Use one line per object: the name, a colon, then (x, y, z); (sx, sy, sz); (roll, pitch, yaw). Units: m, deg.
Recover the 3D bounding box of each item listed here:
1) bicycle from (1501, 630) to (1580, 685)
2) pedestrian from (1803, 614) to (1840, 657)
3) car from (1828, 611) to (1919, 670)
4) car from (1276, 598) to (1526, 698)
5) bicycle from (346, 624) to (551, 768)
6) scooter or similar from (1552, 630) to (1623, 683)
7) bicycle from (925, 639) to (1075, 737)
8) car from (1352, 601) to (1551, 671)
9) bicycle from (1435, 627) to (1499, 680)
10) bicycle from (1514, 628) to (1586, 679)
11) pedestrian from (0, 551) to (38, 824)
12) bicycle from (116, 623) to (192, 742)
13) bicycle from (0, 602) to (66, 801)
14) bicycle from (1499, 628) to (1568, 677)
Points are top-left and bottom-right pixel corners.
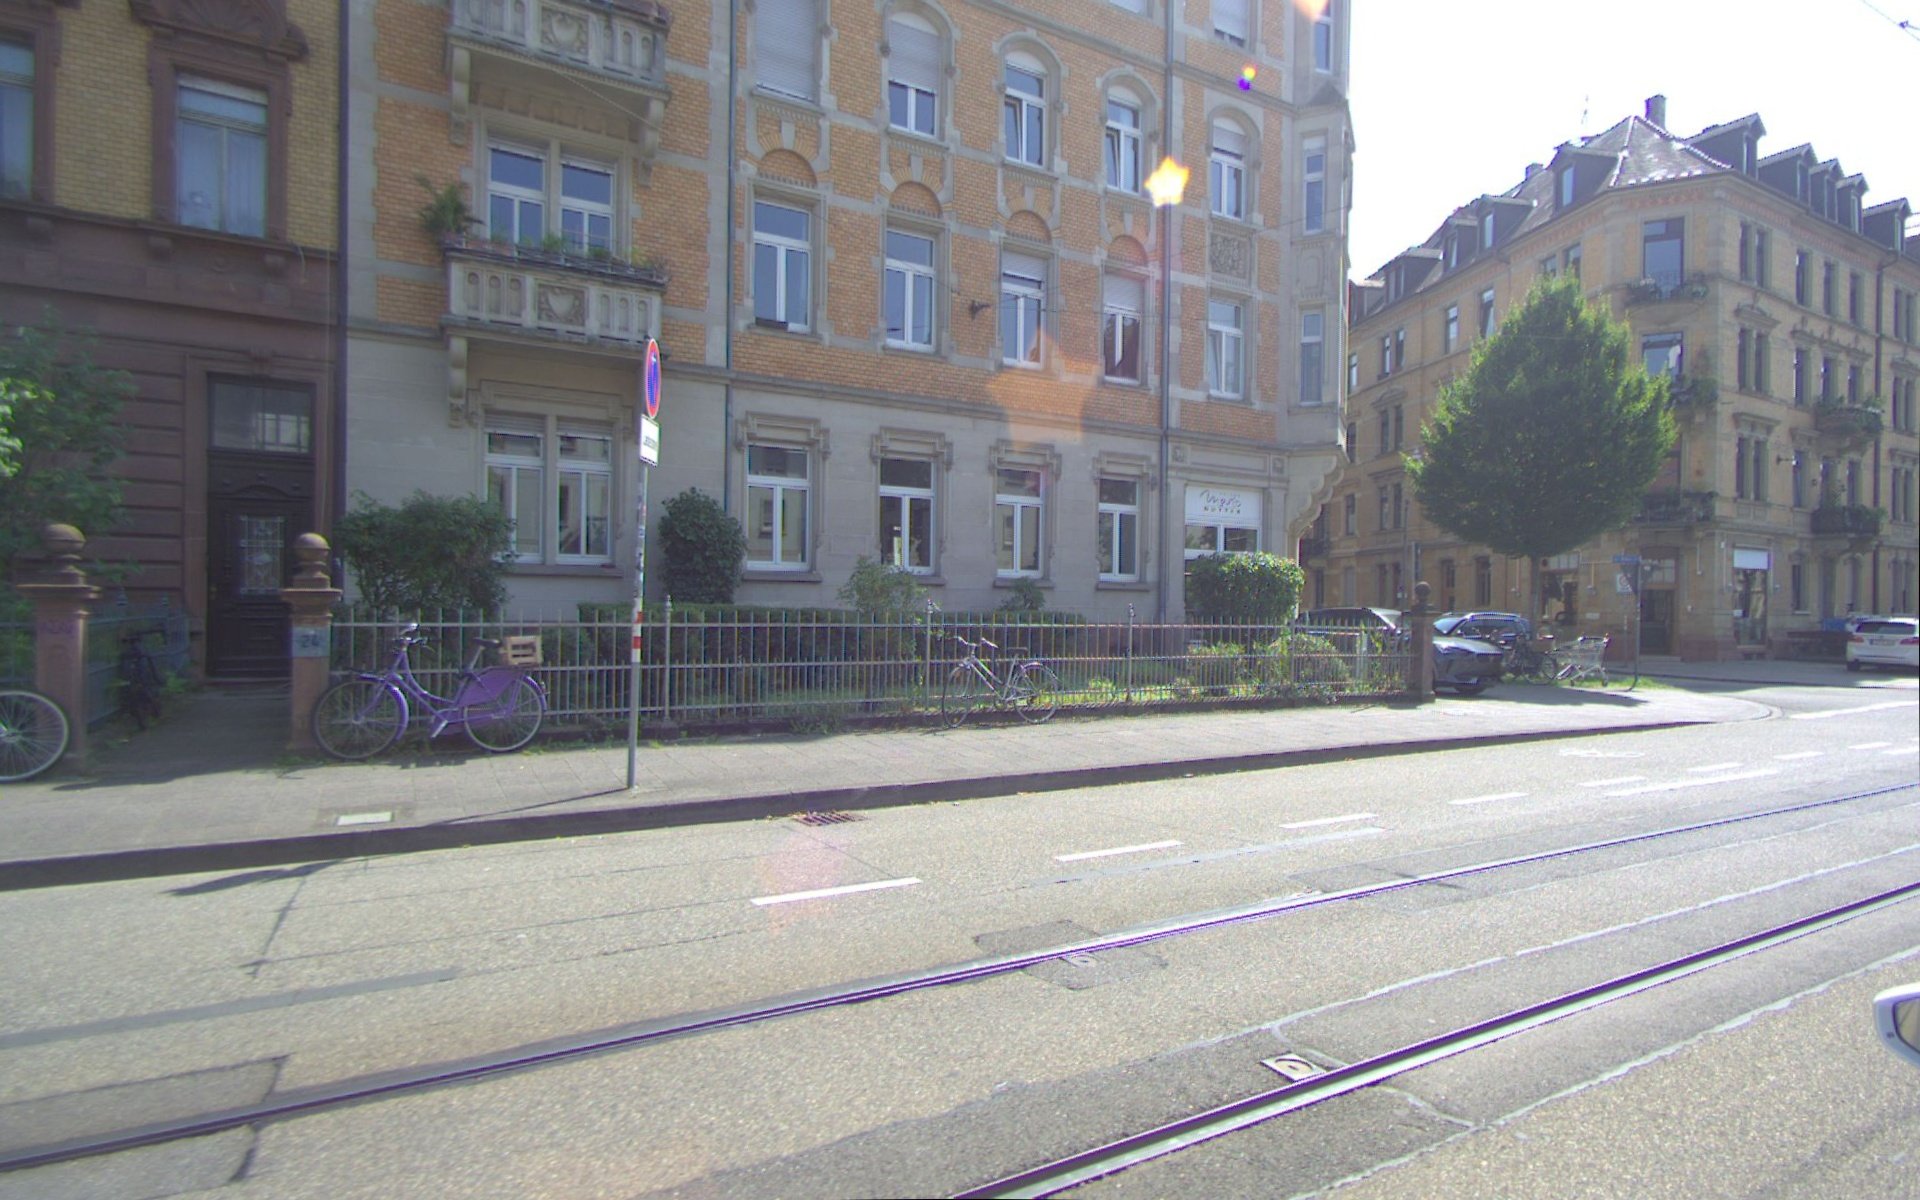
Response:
bicycle: (12.477, 1.219, 21.608); (1.429, 1.113, 0.389); (1, 1, 39)
pedestrian: (31.378, 1.297, 36.573); (0.878, 1.531, 0.861); (1, 0, -38)
car: (27.777, 1.169, 29.802); (4.313, 1.615, 1.982); (1, -1, -34)
car: (8.214, 0.820, 19.090); (1.855, 1.616, 4.085); (1, 0, -27)
bicycle: (-4.445, 0.801, 8.791); (1.562, 1.163, 0.388); (1, 0, -29)
scooter or similar: (13.756, 1.233, 22.025); (1.368, 1.113, 0.595); (0, 1, -20)
bicycle: (0.486, 1.000, 11.750); (1.811, 1.052, 0.388); (1, 0, -29)
car: (12.658, 0.927, 26.006); (4.280, 1.711, 1.997); (1, -1, -9)
bicycle: (11.434, 1.193, 22.693); (0.384, 1.113, 1.446); (0, 1, -18)
bicycle: (13.390, 1.214, 22.792); (1.424, 1.113, 0.390); (1, 1, -4)
pedestrian: (-6.755, 0.570, 6.571); (0.860, 1.779, 0.879); (1, 0, -29)
bicycle: (-7.822, 0.761, 9.780); (0.387, 1.046, 1.392); (0, 0, -31)
bicycle: (-7.408, 0.721, 7.102); (1.562, 1.424, 0.388); (1, 0, -29)
bicycle: (13.419, 1.226, 23.510); (1.424, 1.113, 0.390); (1, 1, -4)
